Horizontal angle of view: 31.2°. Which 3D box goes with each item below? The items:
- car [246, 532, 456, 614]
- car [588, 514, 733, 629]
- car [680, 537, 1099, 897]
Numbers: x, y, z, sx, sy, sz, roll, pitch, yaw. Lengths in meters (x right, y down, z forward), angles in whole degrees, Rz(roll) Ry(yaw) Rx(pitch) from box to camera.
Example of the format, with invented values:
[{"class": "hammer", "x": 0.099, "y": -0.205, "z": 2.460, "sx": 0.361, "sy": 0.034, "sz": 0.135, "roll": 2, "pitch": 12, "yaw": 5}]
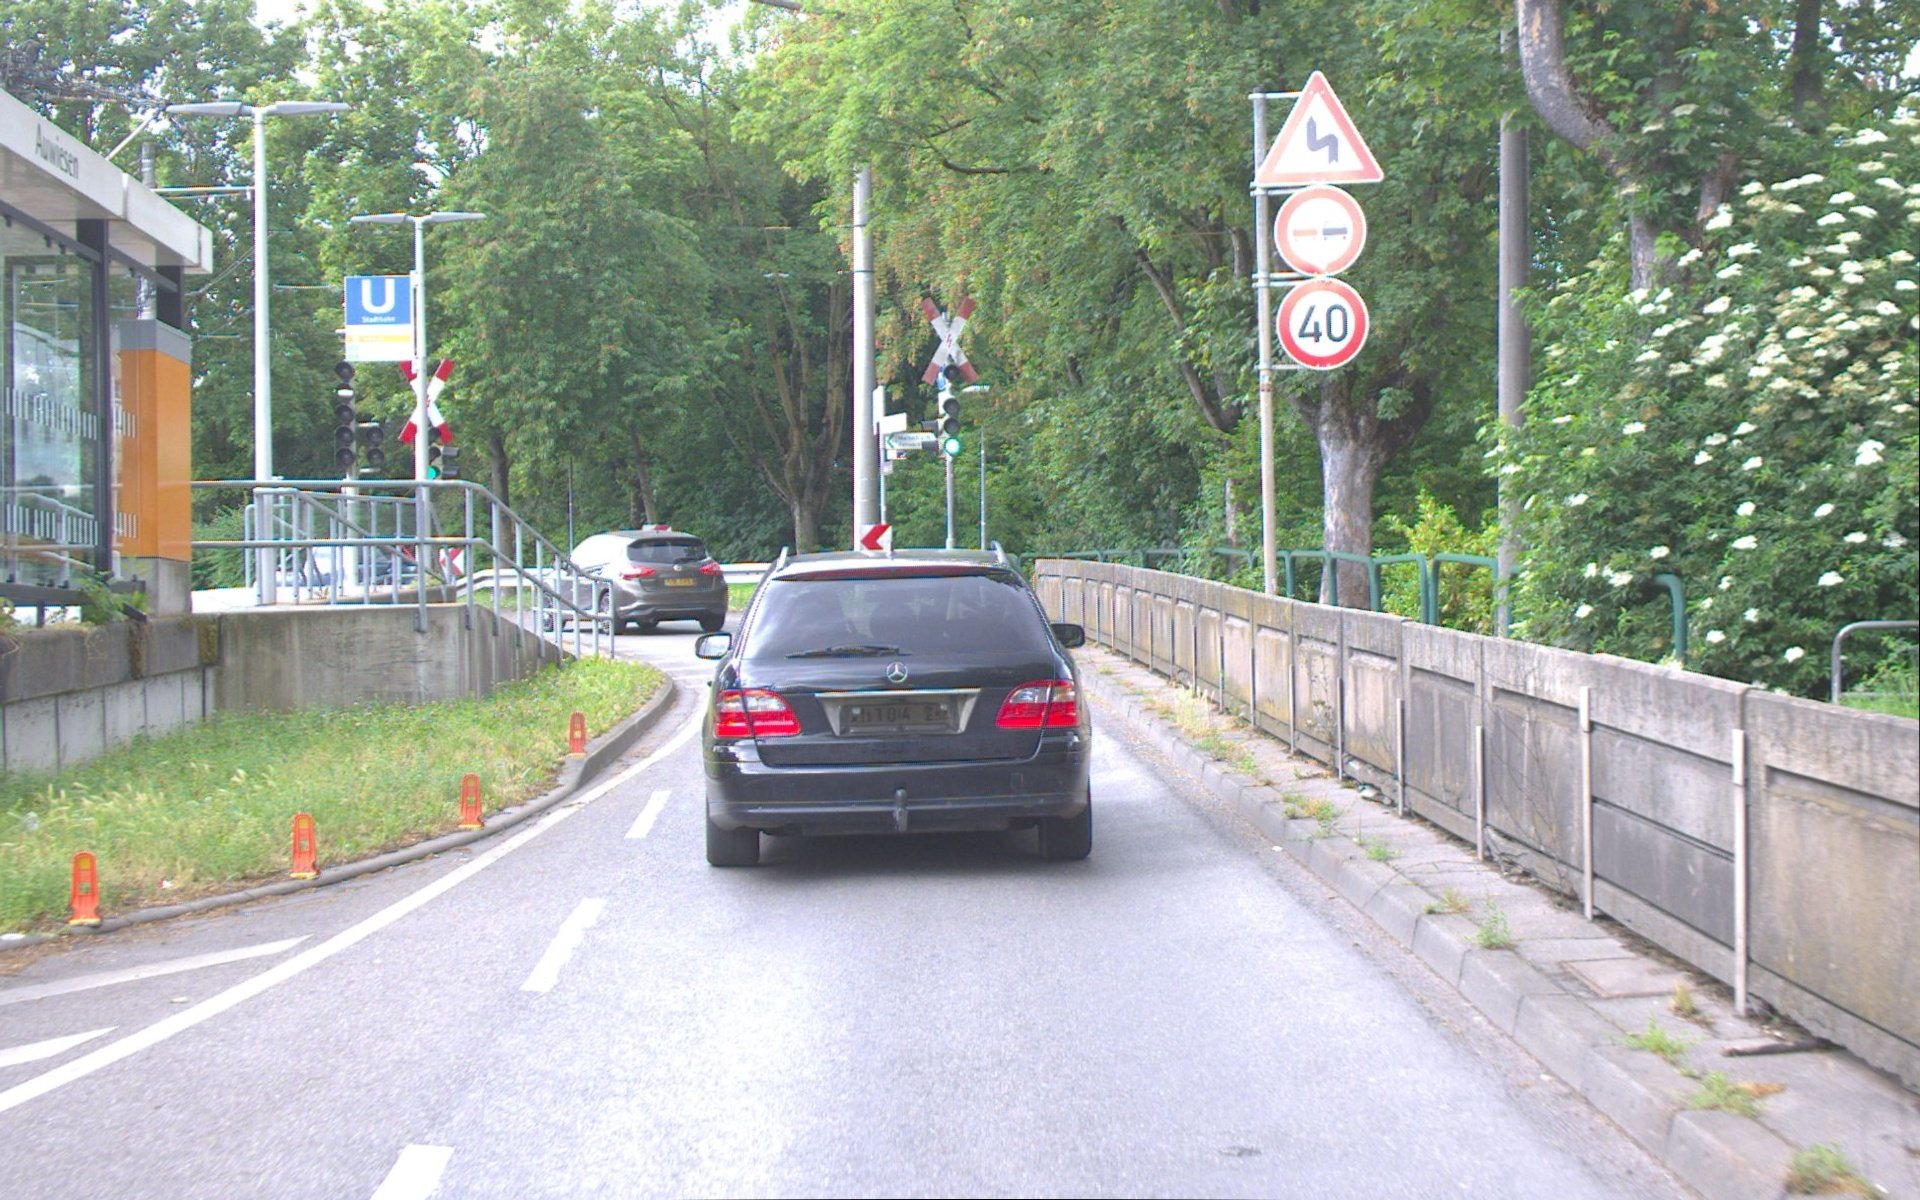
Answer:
[{"class": "car", "x": -10.849, "y": -0.494, "z": 61.040, "sx": 1.994, "sy": 1.394, "sz": 3.999, "roll": -1, "pitch": 2, "yaw": -39}, {"class": "car", "x": -4.536, "y": -0.442, "z": 51.608, "sx": 1.781, "sy": 1.642, "sz": 4.001, "roll": 0, "pitch": 1, "yaw": -11}, {"class": "car", "x": -0.336, "y": 0.467, "z": 16.840, "sx": 1.781, "sy": 1.520, "sz": 4.000, "roll": -1, "pitch": 1, "yaw": -1}]
